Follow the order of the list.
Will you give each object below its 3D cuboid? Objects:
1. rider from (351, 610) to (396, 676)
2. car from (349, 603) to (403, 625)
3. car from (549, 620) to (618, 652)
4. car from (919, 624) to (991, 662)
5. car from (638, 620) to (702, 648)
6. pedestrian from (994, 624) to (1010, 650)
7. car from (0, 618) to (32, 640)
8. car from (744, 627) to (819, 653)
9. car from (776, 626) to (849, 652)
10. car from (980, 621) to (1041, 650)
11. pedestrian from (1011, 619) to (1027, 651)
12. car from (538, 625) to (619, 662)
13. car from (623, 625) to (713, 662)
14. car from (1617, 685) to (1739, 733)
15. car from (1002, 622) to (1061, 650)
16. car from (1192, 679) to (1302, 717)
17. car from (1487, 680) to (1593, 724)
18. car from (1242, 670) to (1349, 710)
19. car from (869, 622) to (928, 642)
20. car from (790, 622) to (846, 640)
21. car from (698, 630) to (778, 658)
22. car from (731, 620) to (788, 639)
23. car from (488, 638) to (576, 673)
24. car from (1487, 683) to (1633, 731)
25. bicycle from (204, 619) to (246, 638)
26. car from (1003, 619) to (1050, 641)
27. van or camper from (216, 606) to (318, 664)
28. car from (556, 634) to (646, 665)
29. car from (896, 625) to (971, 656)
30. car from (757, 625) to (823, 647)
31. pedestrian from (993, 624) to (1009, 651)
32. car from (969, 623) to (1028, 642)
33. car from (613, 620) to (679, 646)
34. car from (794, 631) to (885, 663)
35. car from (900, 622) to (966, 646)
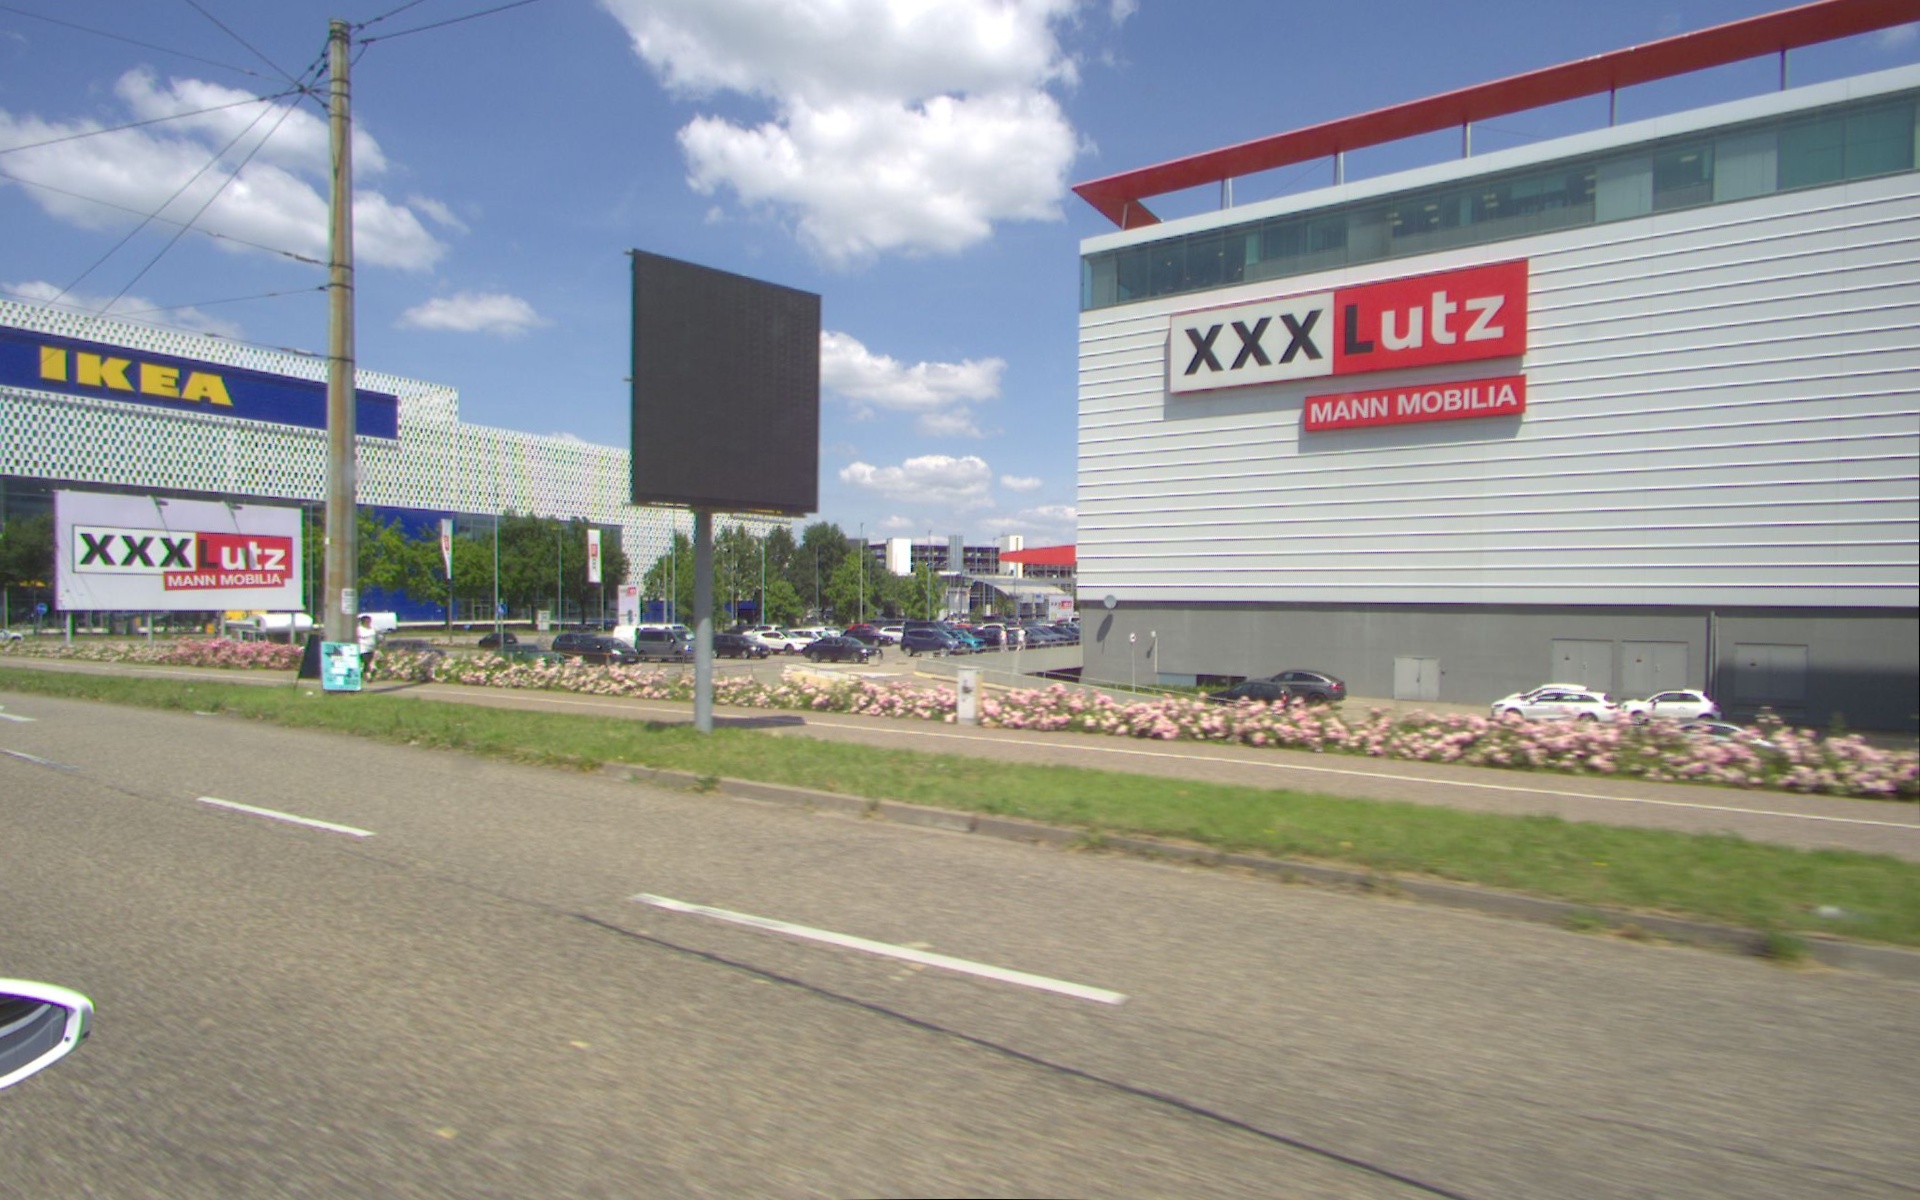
[{"bbox_3d":[-13.314,0.970,22.748,0.609,1.476,0.668,0,-1,32],"label":"rider"},{"bbox_3d":[-63.066,1.547,108.169,1.968,2.338,4.759,0,-2,27],"label":"car"},{"bbox_3d":[-26.903,2.570,71.491,4.929,2.162,1.990,0,-2,32],"label":"car"},{"bbox_3d":[-0.318,2.763,64.688,4.271,2.357,1.991,0,-2,32],"label":"car"},{"bbox_3d":[-22.466,2.632,77.556,4.929,2.033,1.990,0,-2,32],"label":"car"},{"bbox_3d":[2.558,2.247,60.852,0.725,1.577,0.740,0,-1,30],"label":"pedestrian"},{"bbox_3d":[-67.829,1.978,69.665,1.964,1.504,4.385,1,-2,18],"label":"car"},{"bbox_3d":[-12.041,2.698,67.323,4.929,1.631,1.990,0,-2,32],"label":"car"},{"bbox_3d":[-10.259,2.699,69.496,4.929,1.671,1.990,0,-2,32],"label":"car"},{"bbox_3d":[3.630,2.528,71.853,3.942,2.039,1.991,0,-2,32],"label":"car"},{"bbox_3d":[3.541,2.076,60.130,0.725,1.893,0.740,0,-1,30],"label":"pedestrian"},{"bbox_3d":[-22.791,2.530,59.723,4.929,2.040,1.989,0,0,32],"label":"car"},{"bbox_3d":[-17.178,2.515,58.797,5.455,2.039,1.990,0,-2,32],"label":"car"},{"bbox_3d":[29.580,4.465,41.408,3.942,1.632,1.991,0,-2,32],"label":"car"},{"bbox_3d":[5.276,2.639,73.902,3.942,2.039,1.990,-1,-1,32],"label":"car"},{"bbox_3d":[12.649,4.285,44.169,4.287,1.416,1.991,0,-2,30],"label":"car"},{"bbox_3d":[25.558,4.470,44.175,3.942,1.632,1.991,0,-2,32],"label":"car"},{"bbox_3d":[15.951,4.232,47.624,4.523,1.632,1.991,0,-2,32],"label":"car"},{"bbox_3d":[-5.368,2.801,87.306,4.929,1.631,1.990,0,-2,32],"label":"car"},{"bbox_3d":[-13.053,2.854,91.914,4.929,1.631,1.990,0,-2,32],"label":"car"},{"bbox_3d":[-13.915,2.719,62.804,4.929,1.631,1.990,0,-2,32],"label":"car"},{"bbox_3d":[-18.473,2.718,92.147,4.921,1.631,1.994,0,-2,27],"label":"car"},{"bbox_3d":[-21.595,2.742,50.489,4.241,1.517,1.989,0,2,32],"label":"car"},{"bbox_3d":[24.784,4.367,41.490,5.072,1.632,1.991,0,-2,32],"label":"car"},{"bbox_3d":[-56.597,2.201,77.104,0.975,1.500,2.416,0,-2,36],"label":"bicycle"},{"bbox_3d":[6.308,2.881,95.205,3.942,2.039,1.990,-1,-1,32],"label":"car"},{"bbox_3d":[-39.116,1.931,56.453,7.128,3.059,2.500,0,-2,36],"label":"van or camper"},{"bbox_3d":[-19.627,2.671,54.665,4.929,1.570,1.990,0,-2,32],"label":"car"},{"bbox_3d":[-1.666,2.496,62.373,4.271,1.804,1.991,0,-3,32],"label":"car"},{"bbox_3d":[-13.152,2.766,77.392,4.929,1.631,1.990,0,-2,32],"label":"car"},{"bbox_3d":[2.455,2.220,59.746,0.725,1.577,0.740,0,-1,30],"label":"pedestrian"},{"bbox_3d":[3.465,2.884,89.769,4.929,1.631,1.990,0,-2,32],"label":"car"},{"bbox_3d":[-23.439,2.445,74.761,4.929,1.876,1.990,0,-2,32],"label":"car"},{"bbox_3d":[-6.806,2.614,56.367,4.929,1.631,1.990,0,-2,32],"label":"car"},{"bbox_3d":[-2.237,2.739,81.551,5.105,1.889,1.991,0,-2,31],"label":"car"}]
